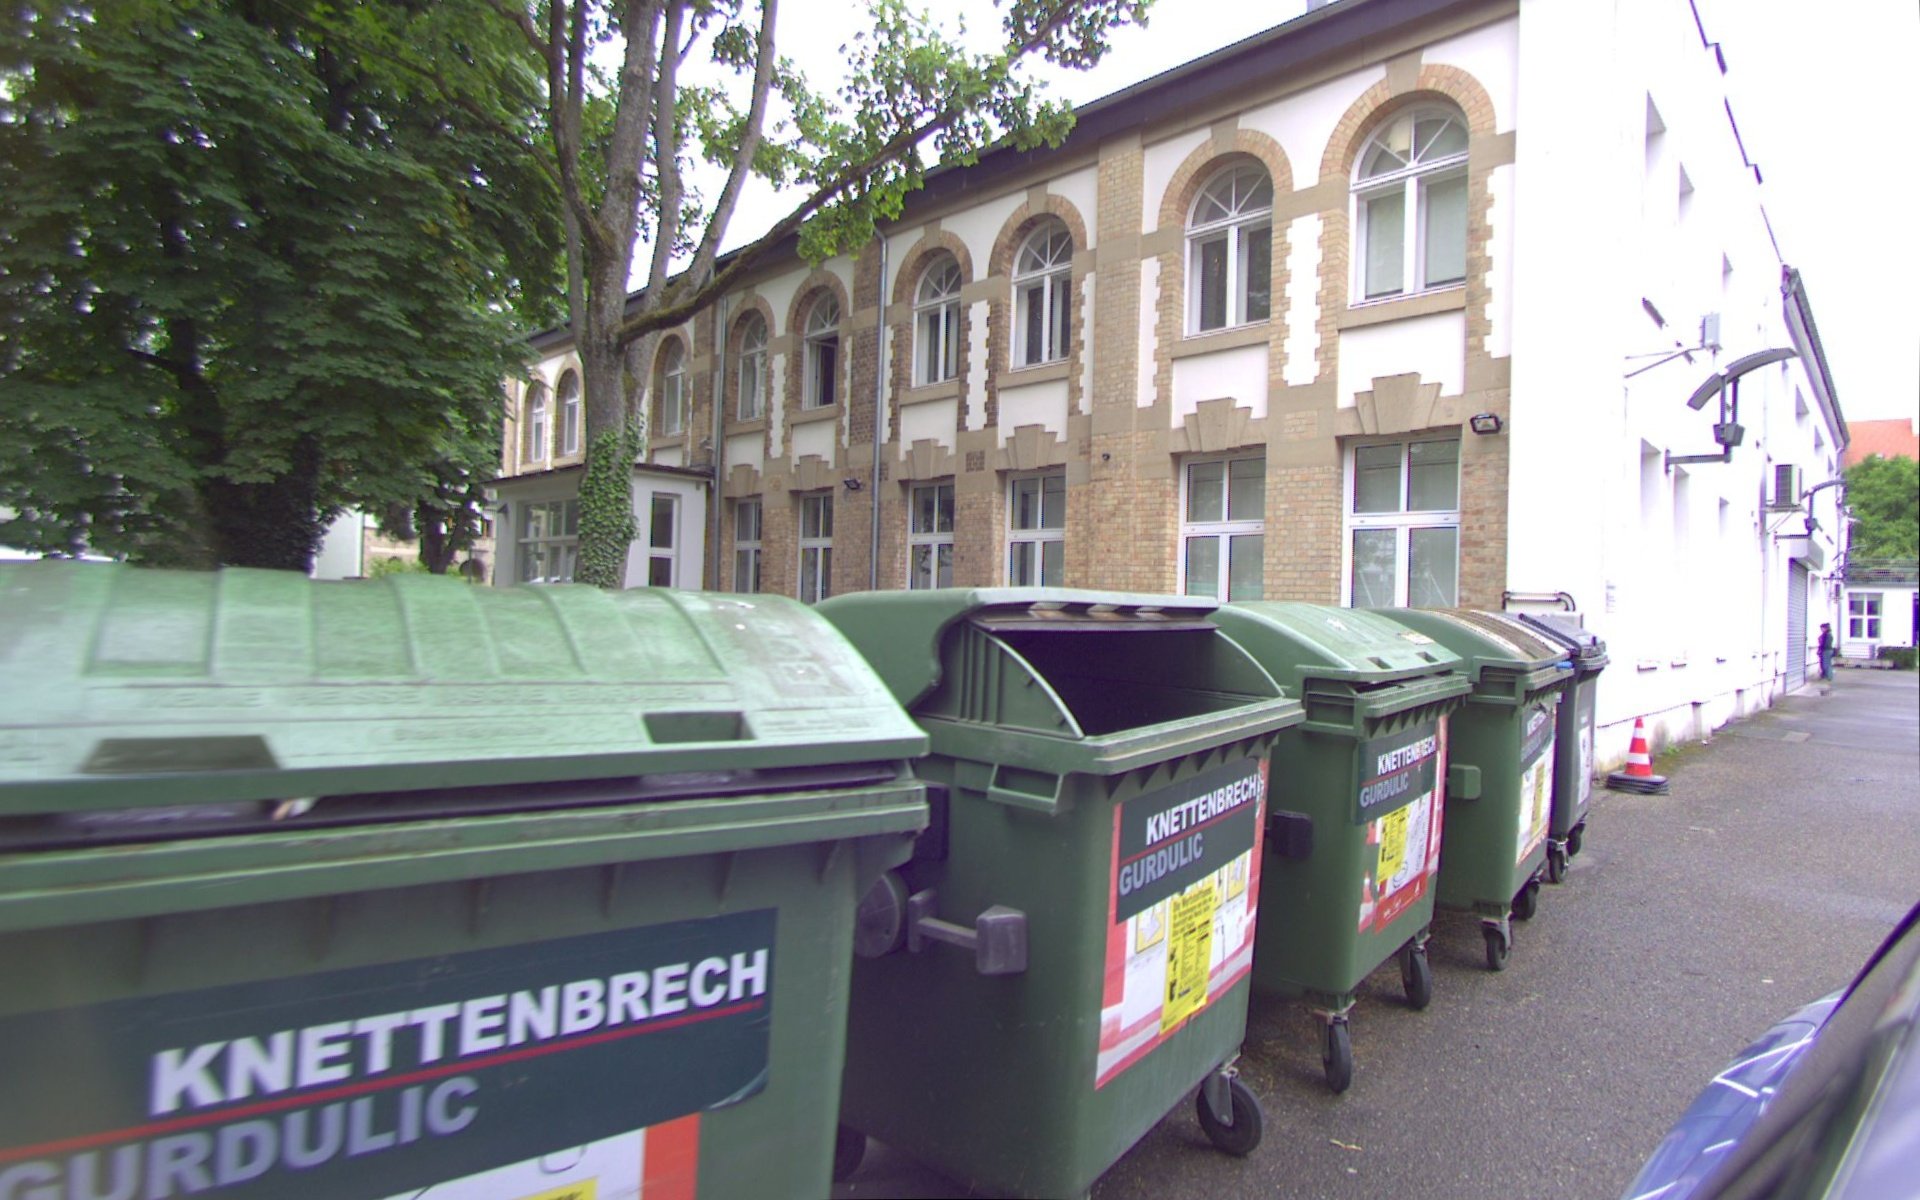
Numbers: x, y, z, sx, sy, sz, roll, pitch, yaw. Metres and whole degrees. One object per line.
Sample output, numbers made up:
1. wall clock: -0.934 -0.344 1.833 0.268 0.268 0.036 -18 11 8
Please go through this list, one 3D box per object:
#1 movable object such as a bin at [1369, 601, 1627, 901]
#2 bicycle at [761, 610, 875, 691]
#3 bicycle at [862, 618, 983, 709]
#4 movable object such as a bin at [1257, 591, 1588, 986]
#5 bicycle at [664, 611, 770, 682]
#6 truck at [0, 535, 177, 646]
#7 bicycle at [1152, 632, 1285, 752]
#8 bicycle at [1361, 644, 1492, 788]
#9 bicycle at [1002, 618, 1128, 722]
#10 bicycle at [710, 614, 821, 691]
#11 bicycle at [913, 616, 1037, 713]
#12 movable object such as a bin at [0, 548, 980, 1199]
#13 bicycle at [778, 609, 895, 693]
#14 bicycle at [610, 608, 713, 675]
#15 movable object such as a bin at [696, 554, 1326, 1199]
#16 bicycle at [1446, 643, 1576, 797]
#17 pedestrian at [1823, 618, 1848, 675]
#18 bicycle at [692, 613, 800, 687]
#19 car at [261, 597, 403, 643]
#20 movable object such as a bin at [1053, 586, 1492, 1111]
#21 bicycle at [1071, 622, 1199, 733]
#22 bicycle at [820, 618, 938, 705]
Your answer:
1. movable object such as a bin: 3.160 0.759 5.897 1.103 1.469 1.343 1 -1 39
2. bicycle: -2.087 0.730 15.072 1.716 1.129 0.459 2 -1 -44
3. bicycle: -0.474 0.813 13.413 1.716 1.129 0.459 2 -1 -44
4. movable object such as a bin: 2.159 0.713 4.660 1.103 1.469 1.308 1 -1 38
5. bicycle: -4.058 0.769 17.008 1.716 1.129 0.459 2 -1 -44
6. truck: -22.797 -0.241 25.199 2.139 2.578 4.902 1 0 16
7. bicycle: 2.706 0.907 10.481 1.714 1.129 0.460 2 -1 -42
8. bicycle: 4.170 0.974 8.980 1.716 1.129 0.459 2 -1 -44
9. bicycle: 1.262 0.787 11.908 1.716 1.129 0.459 2 -1 -44
10. bicycle: -3.014 0.797 15.826 1.716 1.129 0.459 2 -1 -44
11. bicycle: 0.218 0.778 12.681 1.716 1.129 0.459 2 -1 -44
12. movable object such as a bin: -0.801 0.681 1.531 1.251 1.452 1.071 1 0 -37
13. bicycle: -1.736 0.711 14.454 1.716 1.129 0.459 2 -1 -44
14. bicycle: -5.284 0.719 17.994 1.716 1.129 0.459 2 -1 -44
15. movable object such as a bin: 0.194 0.656 2.616 1.102 1.469 1.269 1 -1 36
16. bicycle: 4.638 0.942 8.464 1.716 1.129 0.459 2 -1 -44
17. pedestrian: 25.049 1.322 28.948 0.496 1.582 0.423 1 -1 38
18. bicycle: -3.442 0.795 16.405 1.716 1.129 0.459 2 -1 -44
19. car: -20.404 0.601 33.071 1.785 1.371 3.796 1 0 12
20. movable object such as a bin: 1.170 0.703 3.700 1.104 1.469 1.275 1 -1 41
21. bicycle: 1.958 0.821 11.186 1.716 1.129 0.459 2 -1 -44
22. bicycle: -1.095 0.820 13.994 1.716 1.129 0.459 2 -1 -44
